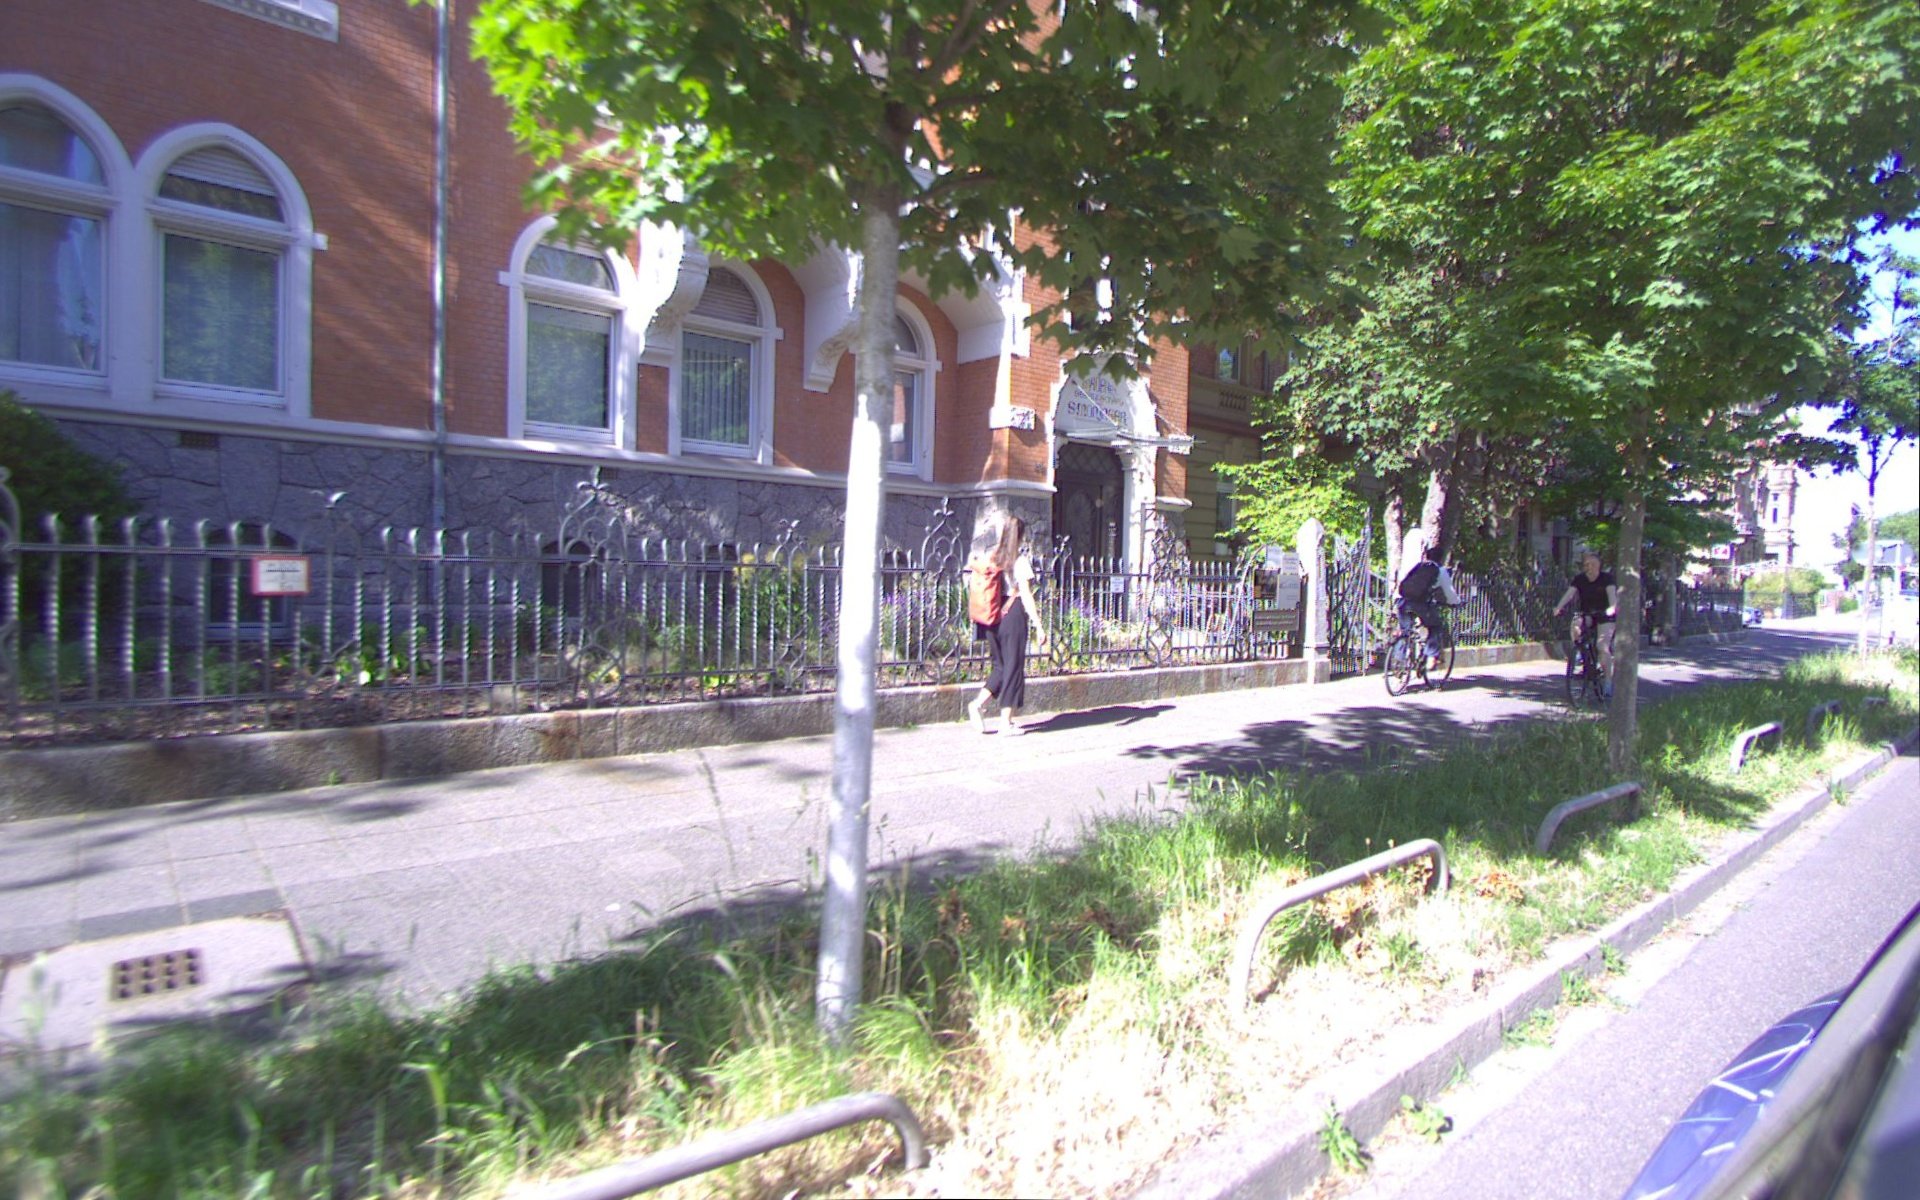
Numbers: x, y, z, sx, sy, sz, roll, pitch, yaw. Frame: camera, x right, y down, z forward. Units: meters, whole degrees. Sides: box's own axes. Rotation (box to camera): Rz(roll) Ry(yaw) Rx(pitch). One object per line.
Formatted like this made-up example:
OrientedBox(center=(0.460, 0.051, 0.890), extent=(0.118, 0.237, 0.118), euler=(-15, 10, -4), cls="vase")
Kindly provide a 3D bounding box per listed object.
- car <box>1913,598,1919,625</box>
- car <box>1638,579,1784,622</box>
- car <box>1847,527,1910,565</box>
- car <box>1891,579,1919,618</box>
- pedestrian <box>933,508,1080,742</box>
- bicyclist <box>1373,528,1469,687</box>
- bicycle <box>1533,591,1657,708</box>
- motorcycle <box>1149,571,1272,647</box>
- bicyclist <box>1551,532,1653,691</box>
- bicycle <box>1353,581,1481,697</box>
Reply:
OrientedBox(center=(64.207, 0.771, 66.536), extent=(4.619, 1.709, 1.891), euler=(0, 2, -42), cls="car")
OrientedBox(center=(30.701, -0.015, 41.469), extent=(2.010, 1.434, 4.418), euler=(0, 3, -39), cls="car")
OrientedBox(center=(41.841, -2.449, 46.068), extent=(4.039, 1.458, 1.844), euler=(0, 5, -45), cls="car")
OrientedBox(center=(49.252, -0.065, 52.139), extent=(3.503, 1.896, 1.691), euler=(0, 3, -45), cls="car")
OrientedBox(center=(0.354, 0.156, 7.823), extent=(0.806, 1.678, 0.696), euler=(-1, 5, -41), cls="pedestrian")
OrientedBox(center=(5.268, 0.067, 11.567), extent=(0.807, 1.710, 0.621), euler=(0, 5, -45), cls="bicyclist")
OrientedBox(center=(7.298, 0.523, 11.593), extent=(1.811, 1.190, 0.654), euler=(0, 5, -42), cls="bicycle")
OrientedBox(center=(3.966, 0.109, 16.170), extent=(0.766, 1.044, 1.884), euler=(-1, 4, -32), cls="motorcycle")
OrientedBox(center=(7.353, 0.112, 11.587), extent=(0.874, 1.715, 0.647), euler=(1, 4, -42), cls="bicyclist")
OrientedBox(center=(5.264, 0.408, 11.606), extent=(1.888, 1.190, 0.616), euler=(0, 5, -45), cls="bicycle")
